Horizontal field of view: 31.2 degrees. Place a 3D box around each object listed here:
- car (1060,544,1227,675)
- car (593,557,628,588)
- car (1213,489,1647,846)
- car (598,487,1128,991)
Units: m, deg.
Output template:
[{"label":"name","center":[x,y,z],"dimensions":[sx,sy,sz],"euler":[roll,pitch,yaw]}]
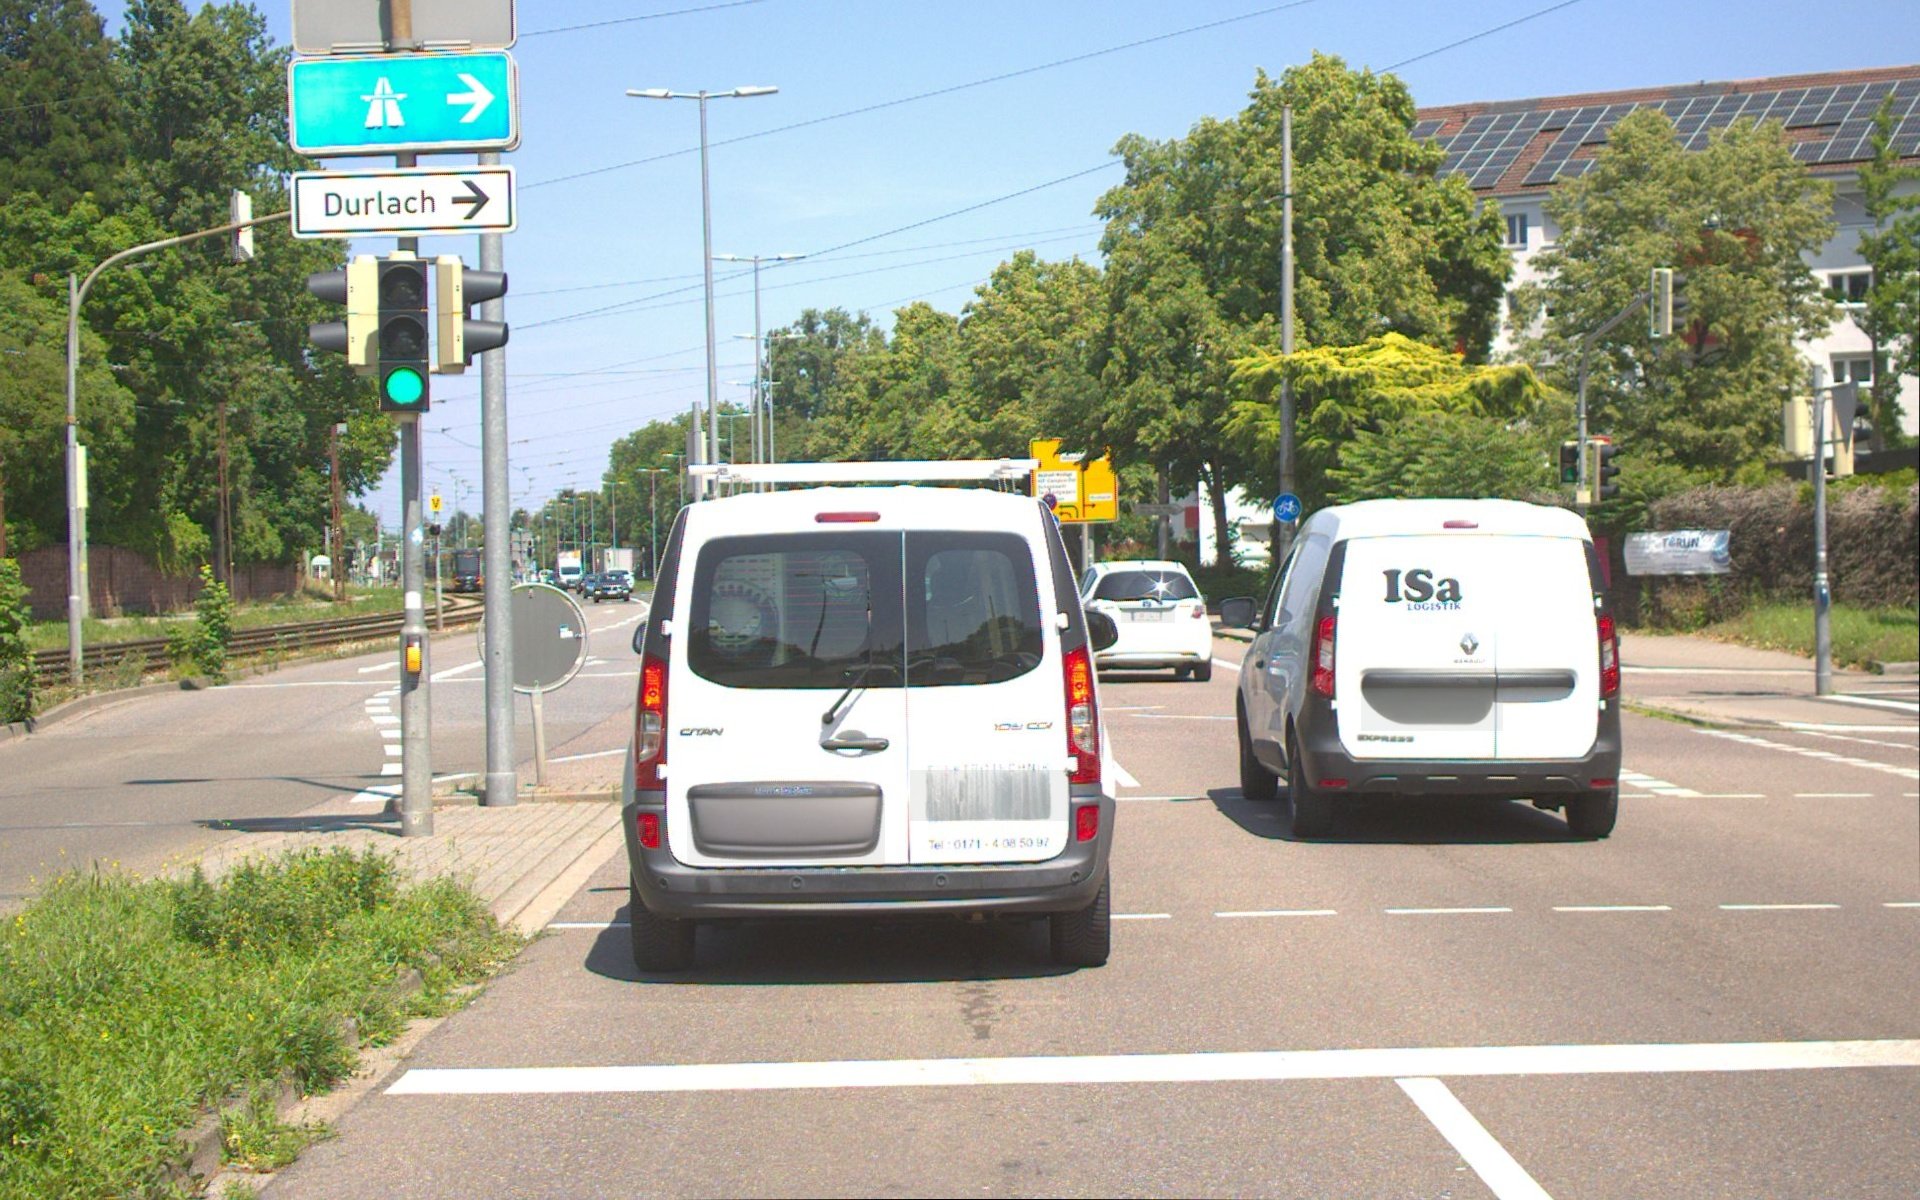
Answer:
[{"label":"car","center":[2.313,0.079,44.162],"dimensions":[1.835,1.563,4.000],"euler":[1,1,-1]},{"label":"car","center":[-17.955,-1.426,176.828],"dimensions":[1.697,1.507,4.067],"euler":[-1,1,-5]},{"label":"car","center":[2.519,0.320,19.344],"dimensions":[1.727,1.782,4.065],"euler":[1,1,-2]},{"label":"car","center":[-0.377,0.446,14.036],"dimensions":[1.821,1.734,4.396],"euler":[0,1,-1]}]
